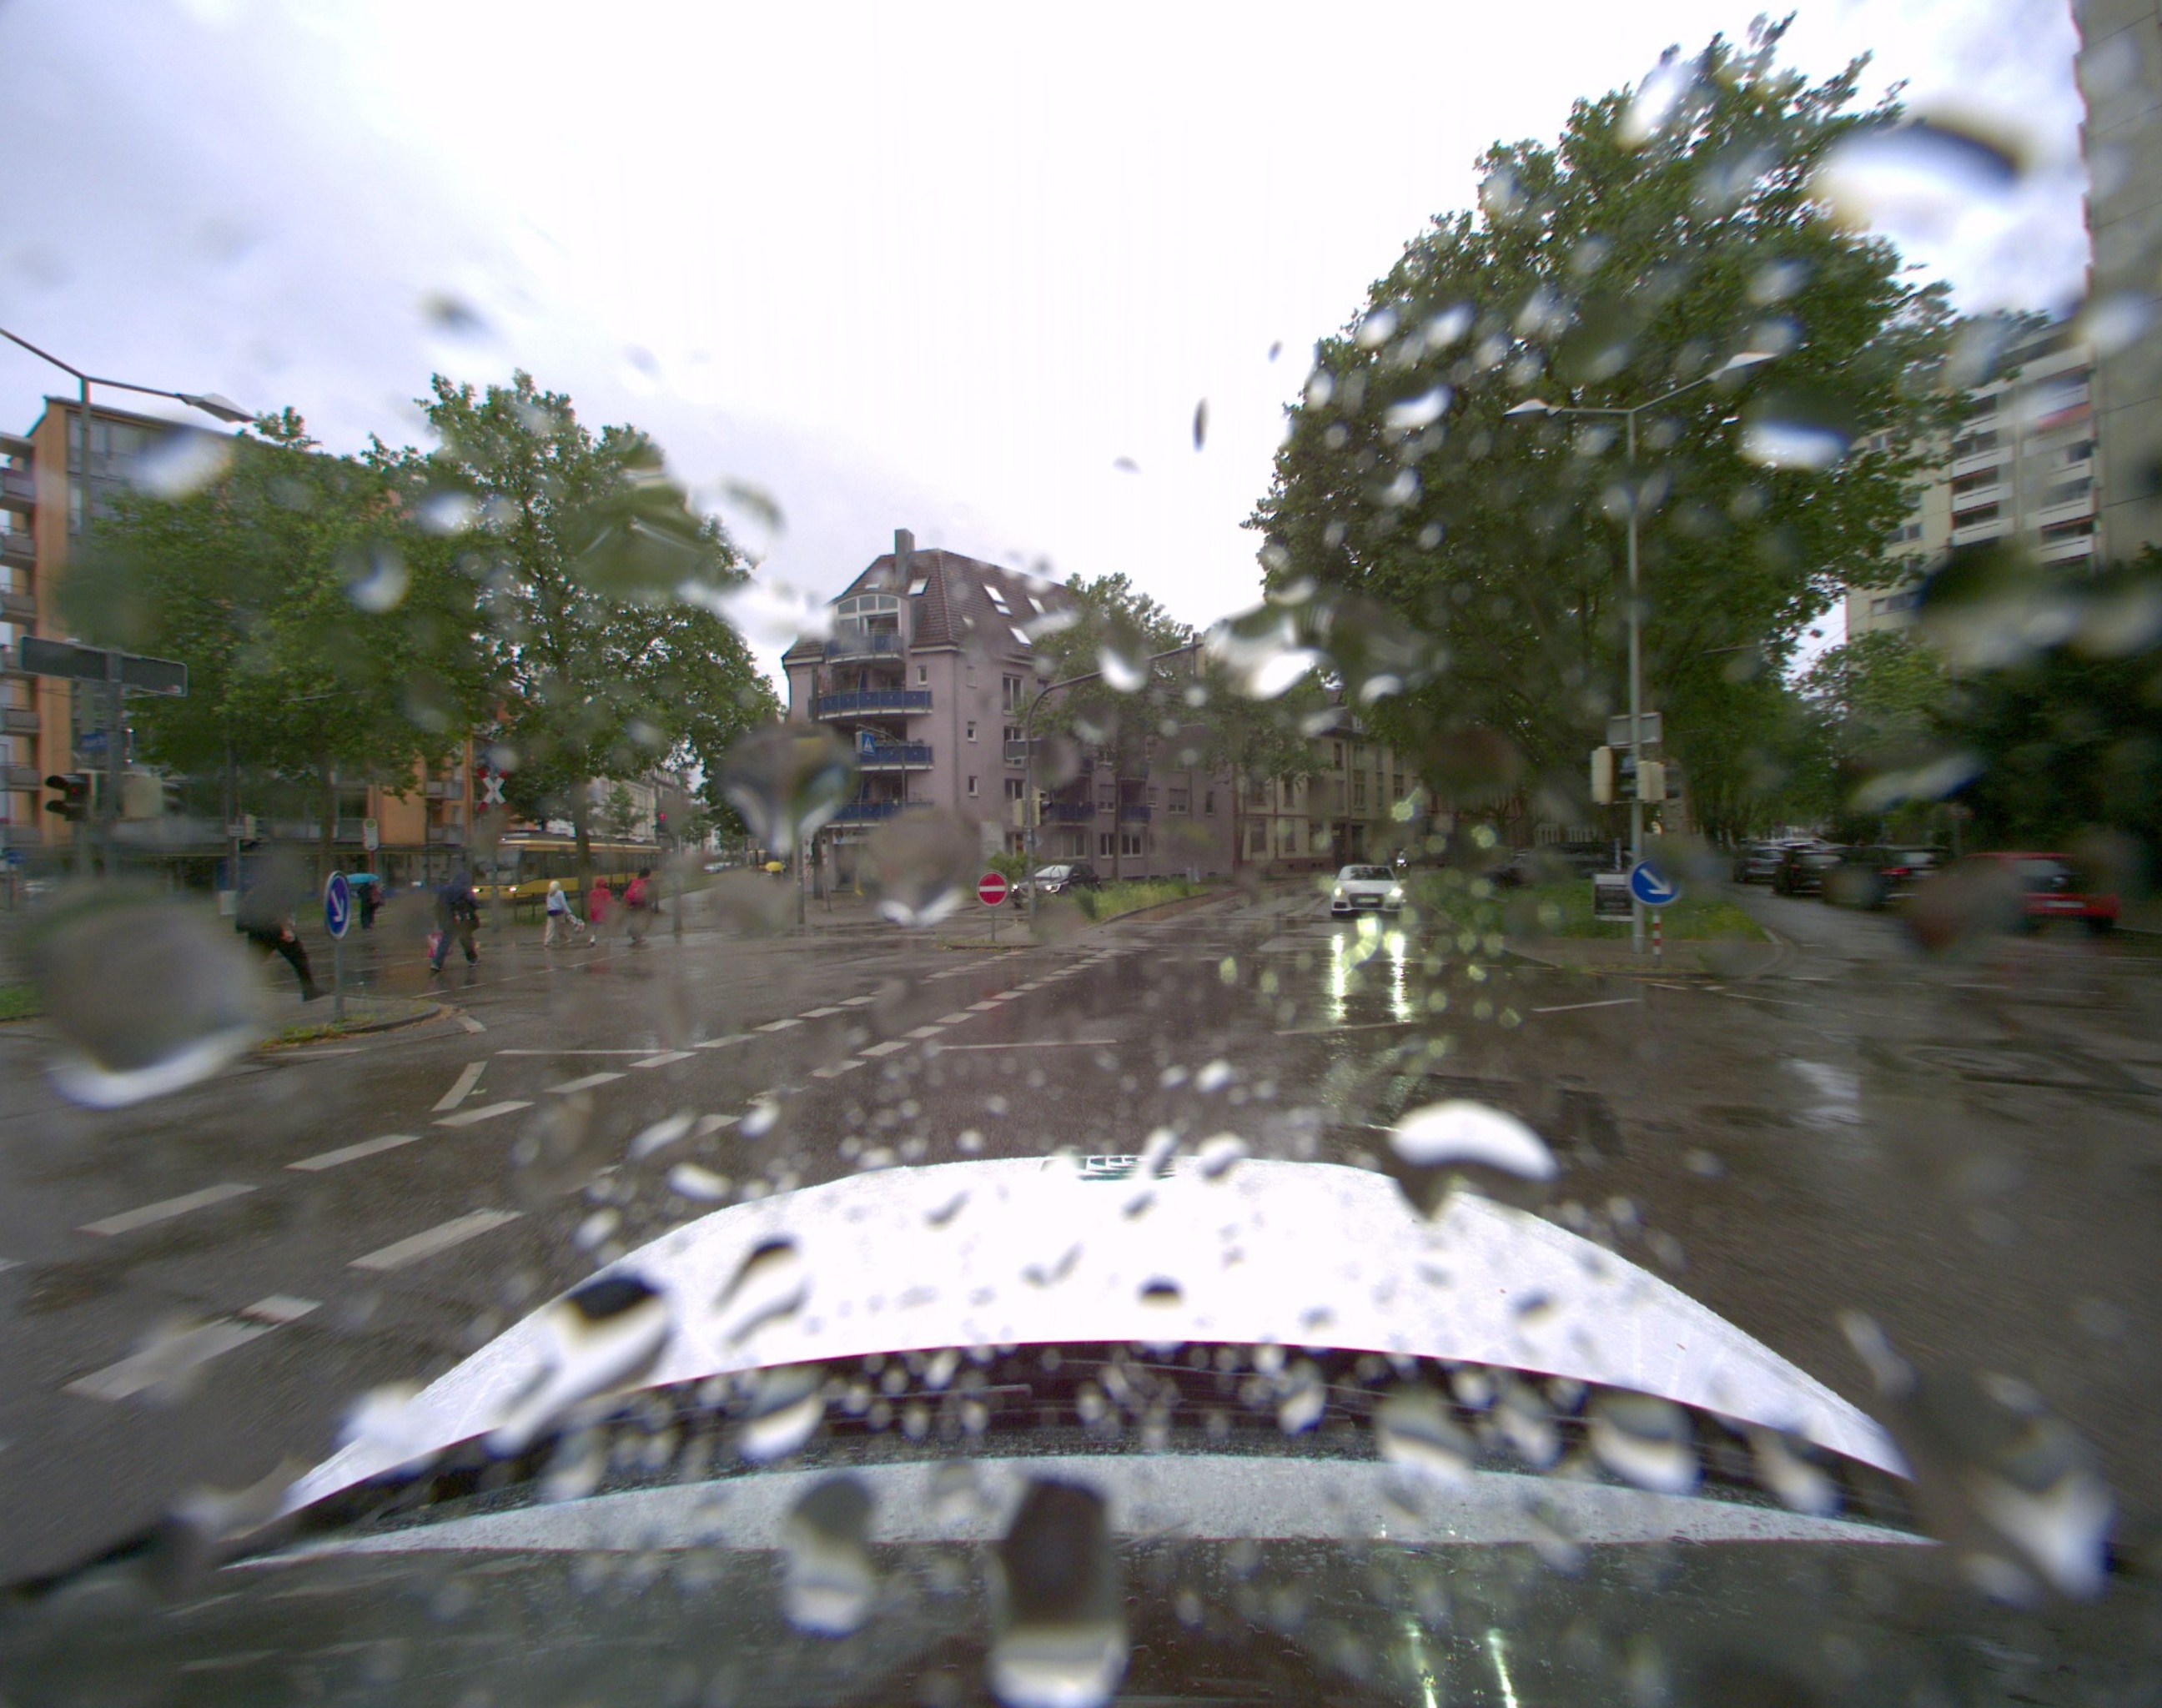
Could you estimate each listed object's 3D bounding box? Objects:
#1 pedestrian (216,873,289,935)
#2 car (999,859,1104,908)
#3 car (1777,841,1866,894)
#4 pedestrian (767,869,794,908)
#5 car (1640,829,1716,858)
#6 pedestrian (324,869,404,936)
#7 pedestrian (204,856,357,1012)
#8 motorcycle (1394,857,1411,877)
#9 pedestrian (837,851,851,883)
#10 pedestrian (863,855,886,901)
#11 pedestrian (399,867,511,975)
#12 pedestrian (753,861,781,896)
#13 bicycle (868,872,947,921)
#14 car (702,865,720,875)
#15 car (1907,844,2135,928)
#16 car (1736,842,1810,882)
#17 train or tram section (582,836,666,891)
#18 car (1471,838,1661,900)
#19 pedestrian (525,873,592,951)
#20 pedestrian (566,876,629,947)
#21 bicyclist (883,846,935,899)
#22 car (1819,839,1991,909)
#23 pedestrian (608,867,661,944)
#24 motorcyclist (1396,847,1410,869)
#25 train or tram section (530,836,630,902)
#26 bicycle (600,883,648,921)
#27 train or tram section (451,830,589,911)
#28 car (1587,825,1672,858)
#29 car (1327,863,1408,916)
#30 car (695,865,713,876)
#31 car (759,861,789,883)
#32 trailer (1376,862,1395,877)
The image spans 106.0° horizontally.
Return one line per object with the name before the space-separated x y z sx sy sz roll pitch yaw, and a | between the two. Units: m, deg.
pedestrian | -25.104 1.493 24.684 1.224 1.788 1.042 -1 0 14
car | -0.890 0.938 27.242 1.971 1.461 4.199 -1 0 21
car | 24.084 0.408 26.608 1.816 1.596 3.508 -1 0 37
pedestrian | -12.508 1.407 33.915 0.994 1.559 0.780 -2 0 -17
car | 57.122 -0.932 78.079 1.996 2.649 5.944 -1 0 -13
pedestrian | -20.864 1.401 23.722 1.370 1.865 1.180 -1 -1 17
pedestrian | -9.716 0.931 9.929 0.805 1.781 0.996 -1 1 5
motorcycle | 20.005 0.784 50.612 0.870 1.215 2.086 -1 0 24
pedestrian | -12.203 0.670 41.920 0.469 1.602 0.595 -1 -1 9
pedestrian | -8.330 0.971 32.865 0.635 1.804 0.625 -1 1 18
pedestrian | -10.463 1.095 13.652 0.986 1.686 1.060 -1 1 13
pedestrian | -16.670 1.280 43.253 1.172 1.788 0.884 -1 0 -35
bicycle | -4.498 1.080 21.088 2.015 1.173 0.758 -1 1 32
car | -53.390 2.338 117.531 2.001 1.398 3.972 -1 0 -21
car | 18.890 0.587 16.607 1.819 1.525 3.481 -1 0 26
car | 29.566 0.322 34.908 1.907 1.633 4.025 -1 0 33
train or tram section | -30.700 0.638 55.175 2.643 3.351 9.932 -1 0 -16
car | 14.488 0.427 24.575 1.883 1.664 4.552 -1 0 -37
pedestrian | -11.047 1.201 17.266 0.877 1.525 1.059 -1 0 -15
pedestrian | -10.178 1.189 17.166 0.669 1.381 1.010 -1 1 0
bicyclist | -4.430 0.476 21.020 1.063 1.309 0.747 -1 1 32
car | 21.151 0.471 21.168 1.916 1.608 4.483 -1 0 29
pedestrian | -9.445 1.073 17.246 0.689 1.547 0.761 -1 1 -3
motorcyclist | 20.015 0.253 50.642 0.749 1.351 0.759 -1 -1 23
train or tram section | -28.230 0.807 46.362 2.643 3.351 8.330 -1 0 -16
bicycle | -14.240 1.491 25.413 0.442 1.077 1.621 -1 0 5
train or tram section | -26.029 0.730 38.341 2.642 3.369 8.333 -1 0 -15
car | 43.120 -0.920 64.164 2.228 2.401 5.583 -1 0 -11
car | 7.832 0.907 22.336 1.881 1.275 4.192 -1 -1 19
car | -51.829 2.263 111.968 2.001 1.533 3.972 -1 0 -21
car | -25.160 1.477 66.891 1.999 1.673 3.976 -2 0 -17
trailer | 19.116 0.969 51.126 1.014 0.842 1.491 -1 0 25
